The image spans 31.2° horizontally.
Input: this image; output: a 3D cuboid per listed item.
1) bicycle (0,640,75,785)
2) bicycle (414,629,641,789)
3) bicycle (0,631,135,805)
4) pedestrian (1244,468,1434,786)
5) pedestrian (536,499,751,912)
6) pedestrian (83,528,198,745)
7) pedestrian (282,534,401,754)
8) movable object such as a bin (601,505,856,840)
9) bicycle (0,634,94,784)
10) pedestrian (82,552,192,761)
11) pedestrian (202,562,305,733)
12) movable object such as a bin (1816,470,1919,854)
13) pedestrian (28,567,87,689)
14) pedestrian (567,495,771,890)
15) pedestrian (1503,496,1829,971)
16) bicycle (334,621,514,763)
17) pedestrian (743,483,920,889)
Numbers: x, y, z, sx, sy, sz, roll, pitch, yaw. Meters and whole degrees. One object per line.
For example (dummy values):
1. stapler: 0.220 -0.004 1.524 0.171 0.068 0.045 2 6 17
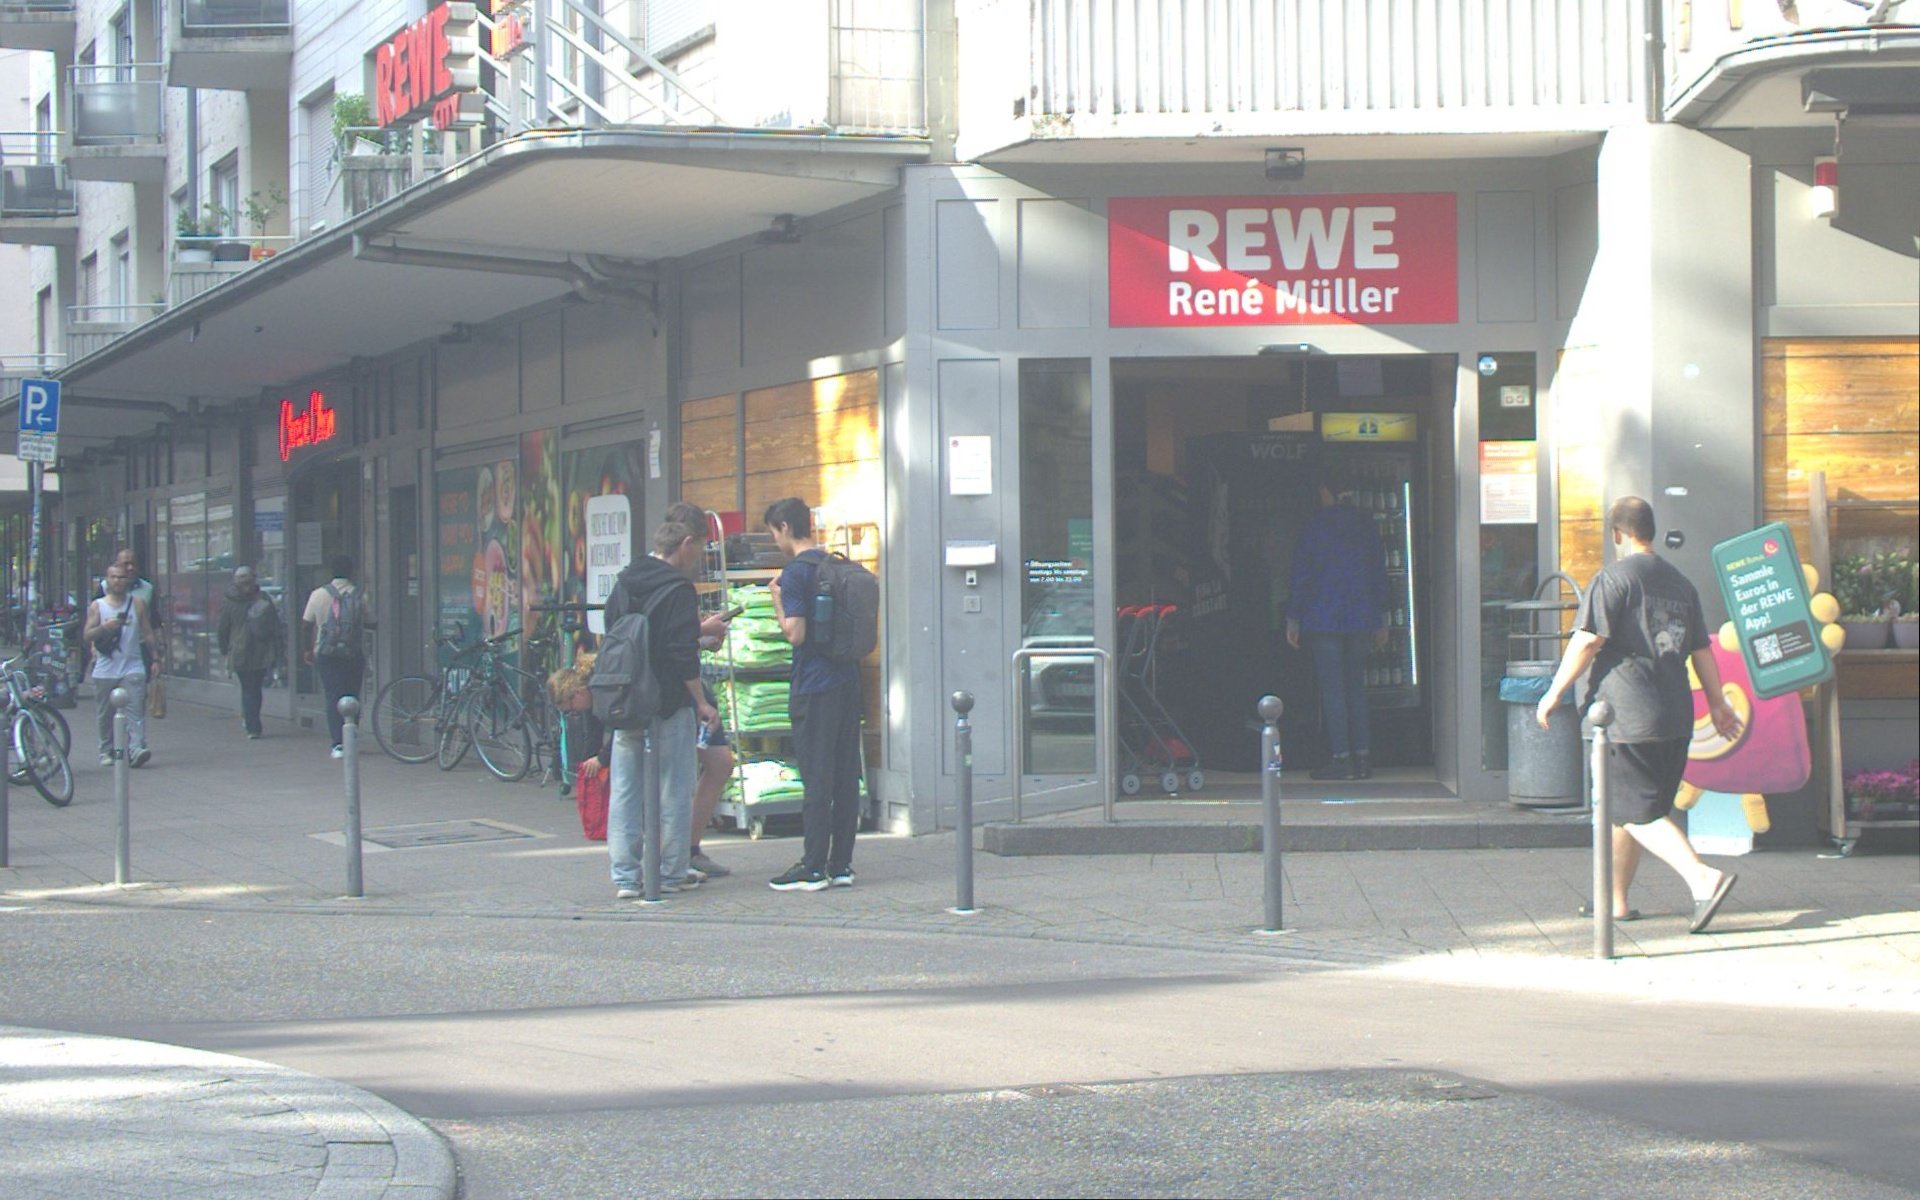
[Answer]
1. bicycle: -7.750 0.890 26.245 1.788 1.067 0.587 -3 2 -31
2. bicycle: -2.974 0.739 23.537 0.676 1.039 1.733 -1 0 -41
3. bicycle: -6.752 0.827 23.563 1.883 1.121 0.907 -4 2 -34
4. pedestrian: 2.132 0.141 19.425 0.763 1.747 0.931 -1 1 -16
5. pedestrian: -1.421 0.464 15.515 0.631 1.791 0.714 -2 3 20
6. pedestrian: -7.196 0.307 30.193 0.884 1.828 1.047 -3 1 -13
7. pedestrian: -5.072 0.350 28.160 0.713 1.741 0.817 -3 2 -23
8. movable object such as a bin: -1.325 0.372 19.126 0.779 1.738 2.424 -1 0 -19
9. bicycle: -7.452 0.840 25.669 1.788 1.067 0.569 -3 2 -31
10. pedestrian: -6.755 0.462 28.195 0.801 1.665 1.022 -1 -1 -16
11. pedestrian: -6.658 0.439 32.377 0.823 1.583 0.781 -1 0 -19
12. movable object such as a bin: 4.849 0.268 16.039 1.544 1.748 0.691 0 2 1
13. pedestrian: -12.041 0.364 45.858 0.643 1.583 0.781 -2 1 -19
14. pedestrian: -1.365 0.425 16.213 0.713 1.791 0.632 -2 2 12
15. pedestrian: 2.740 0.487 13.431 0.849 1.741 1.049 -3 2 -10
16. bicycle: -4.124 0.686 26.375 0.741 1.011 1.783 -3 1 -29
17. pedestrian: -0.596 0.375 15.808 0.653 1.791 0.659 -3 2 -8
